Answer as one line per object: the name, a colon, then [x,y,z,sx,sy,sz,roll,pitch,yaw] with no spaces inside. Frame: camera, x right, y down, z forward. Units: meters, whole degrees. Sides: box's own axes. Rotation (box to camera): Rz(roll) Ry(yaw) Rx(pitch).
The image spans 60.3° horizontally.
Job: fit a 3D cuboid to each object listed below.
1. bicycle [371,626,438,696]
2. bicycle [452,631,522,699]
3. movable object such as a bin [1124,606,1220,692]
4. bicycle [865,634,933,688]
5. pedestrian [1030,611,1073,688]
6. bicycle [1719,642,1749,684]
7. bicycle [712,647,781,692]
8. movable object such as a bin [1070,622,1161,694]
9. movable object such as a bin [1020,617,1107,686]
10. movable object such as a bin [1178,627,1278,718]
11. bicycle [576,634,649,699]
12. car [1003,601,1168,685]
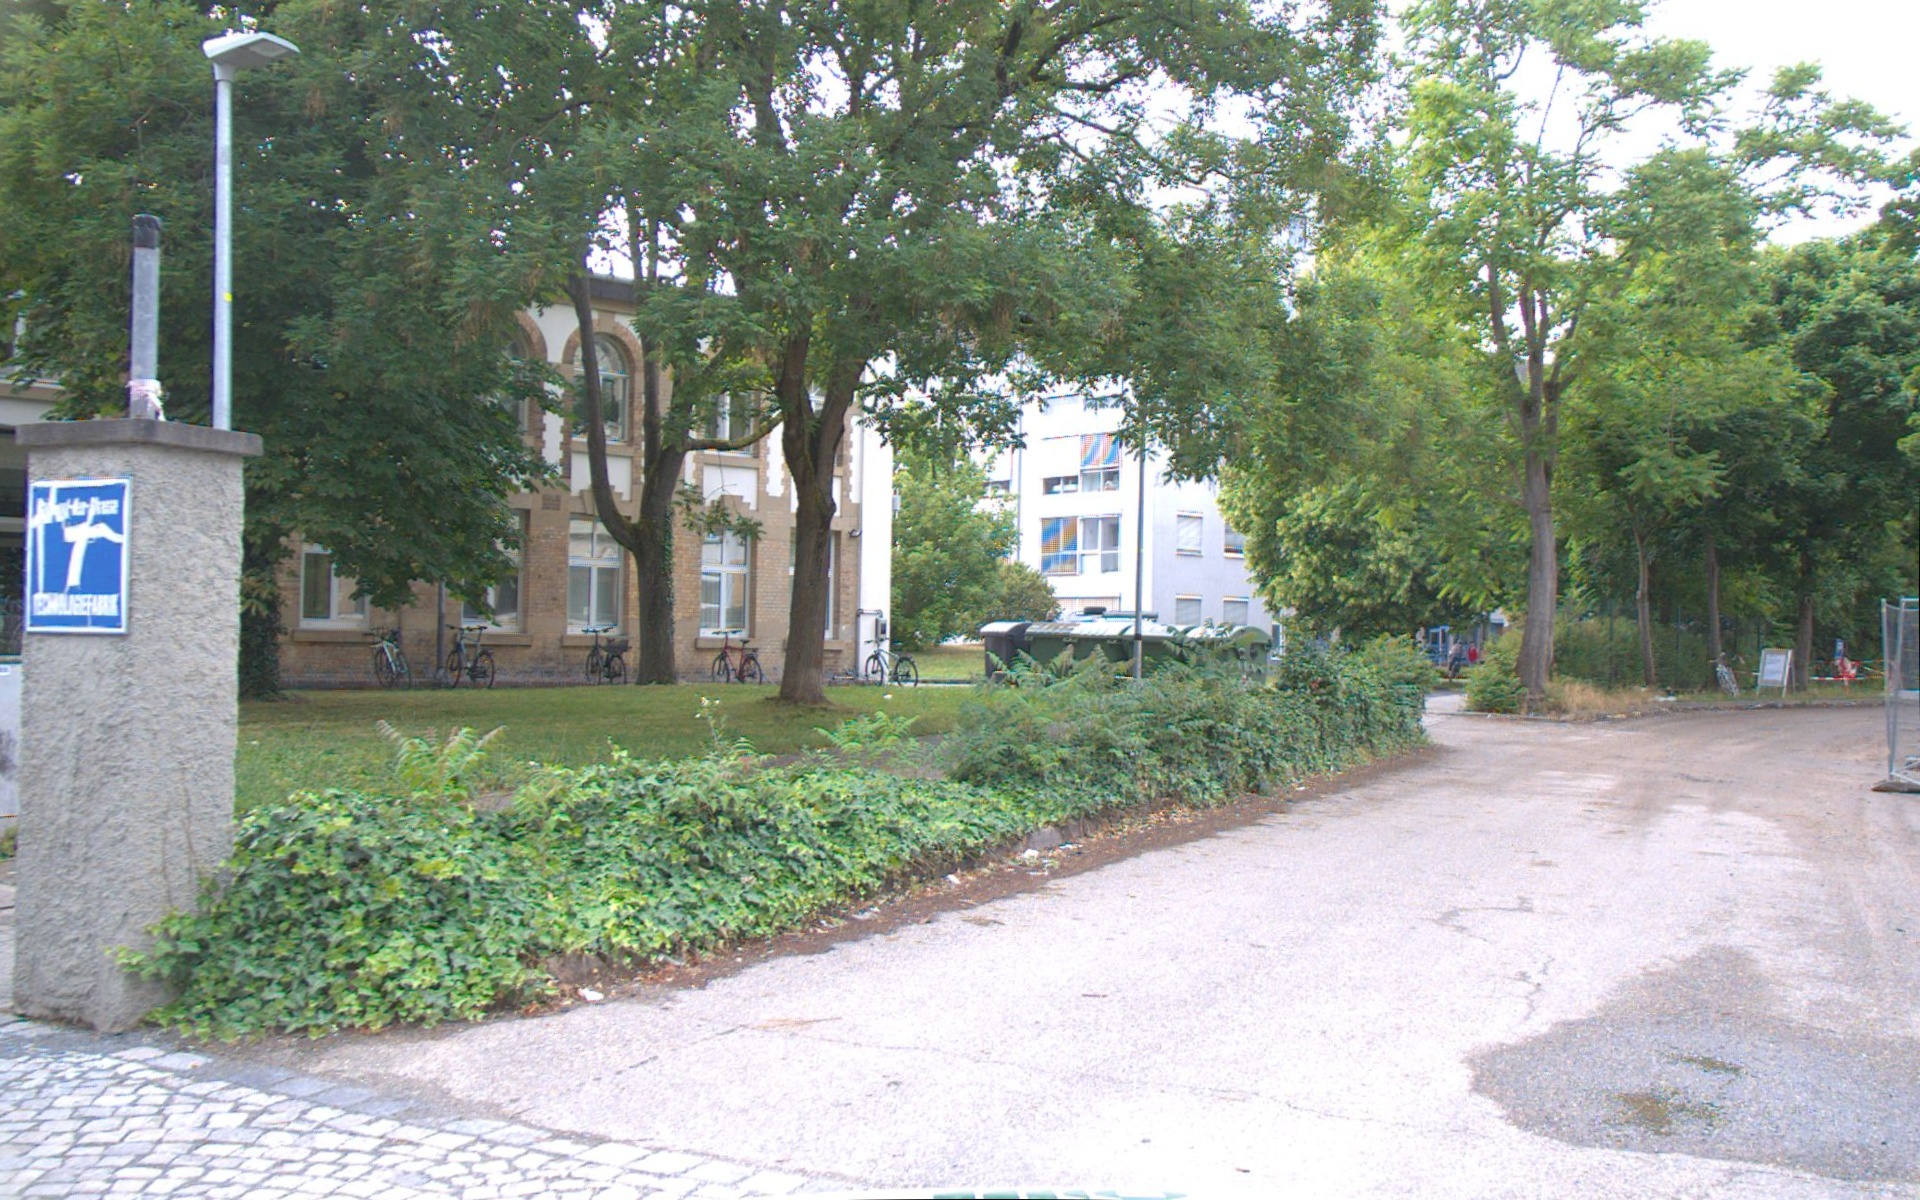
bicycle: [-9.519,1.025,28.315,0.611,1.139,2.197,2,-1,-31]
bicycle: [-8.327,1.123,29.067,0.611,1.139,2.197,2,-1,-31]
movable object such as a bin: [3.782,0.870,29.531,1.047,1.482,1.332,3,-3,-43]
bicycle: [-1.291,1.266,34.777,0.392,1.084,1.802,2,-2,-39]
pedestrian: [2.192,1.190,39.588,0.750,1.841,0.687,2,-4,-42]
bicycle: [17.564,1.426,37.535,0.411,0.921,1.149,0,-1,35]
bicycle: [-4.207,1.343,32.456,0.611,0.828,1.924,2,-1,-31]
movable object such as a bin: [2.882,1.054,30.661,1.047,1.287,1.332,2,-1,-43]
movable object such as a bin: [1.993,0.977,31.890,1.331,1.287,1.049,0,-1,44]
movable object such as a bin: [4.587,1.235,28.366,1.041,1.475,1.341,2,0,-29]
bicycle: [-6.455,1.208,30.646,0.611,1.139,2.197,2,-1,-31]
car: [3.298,1.144,42.775,4.315,2.049,1.825,3,-3,-43]
